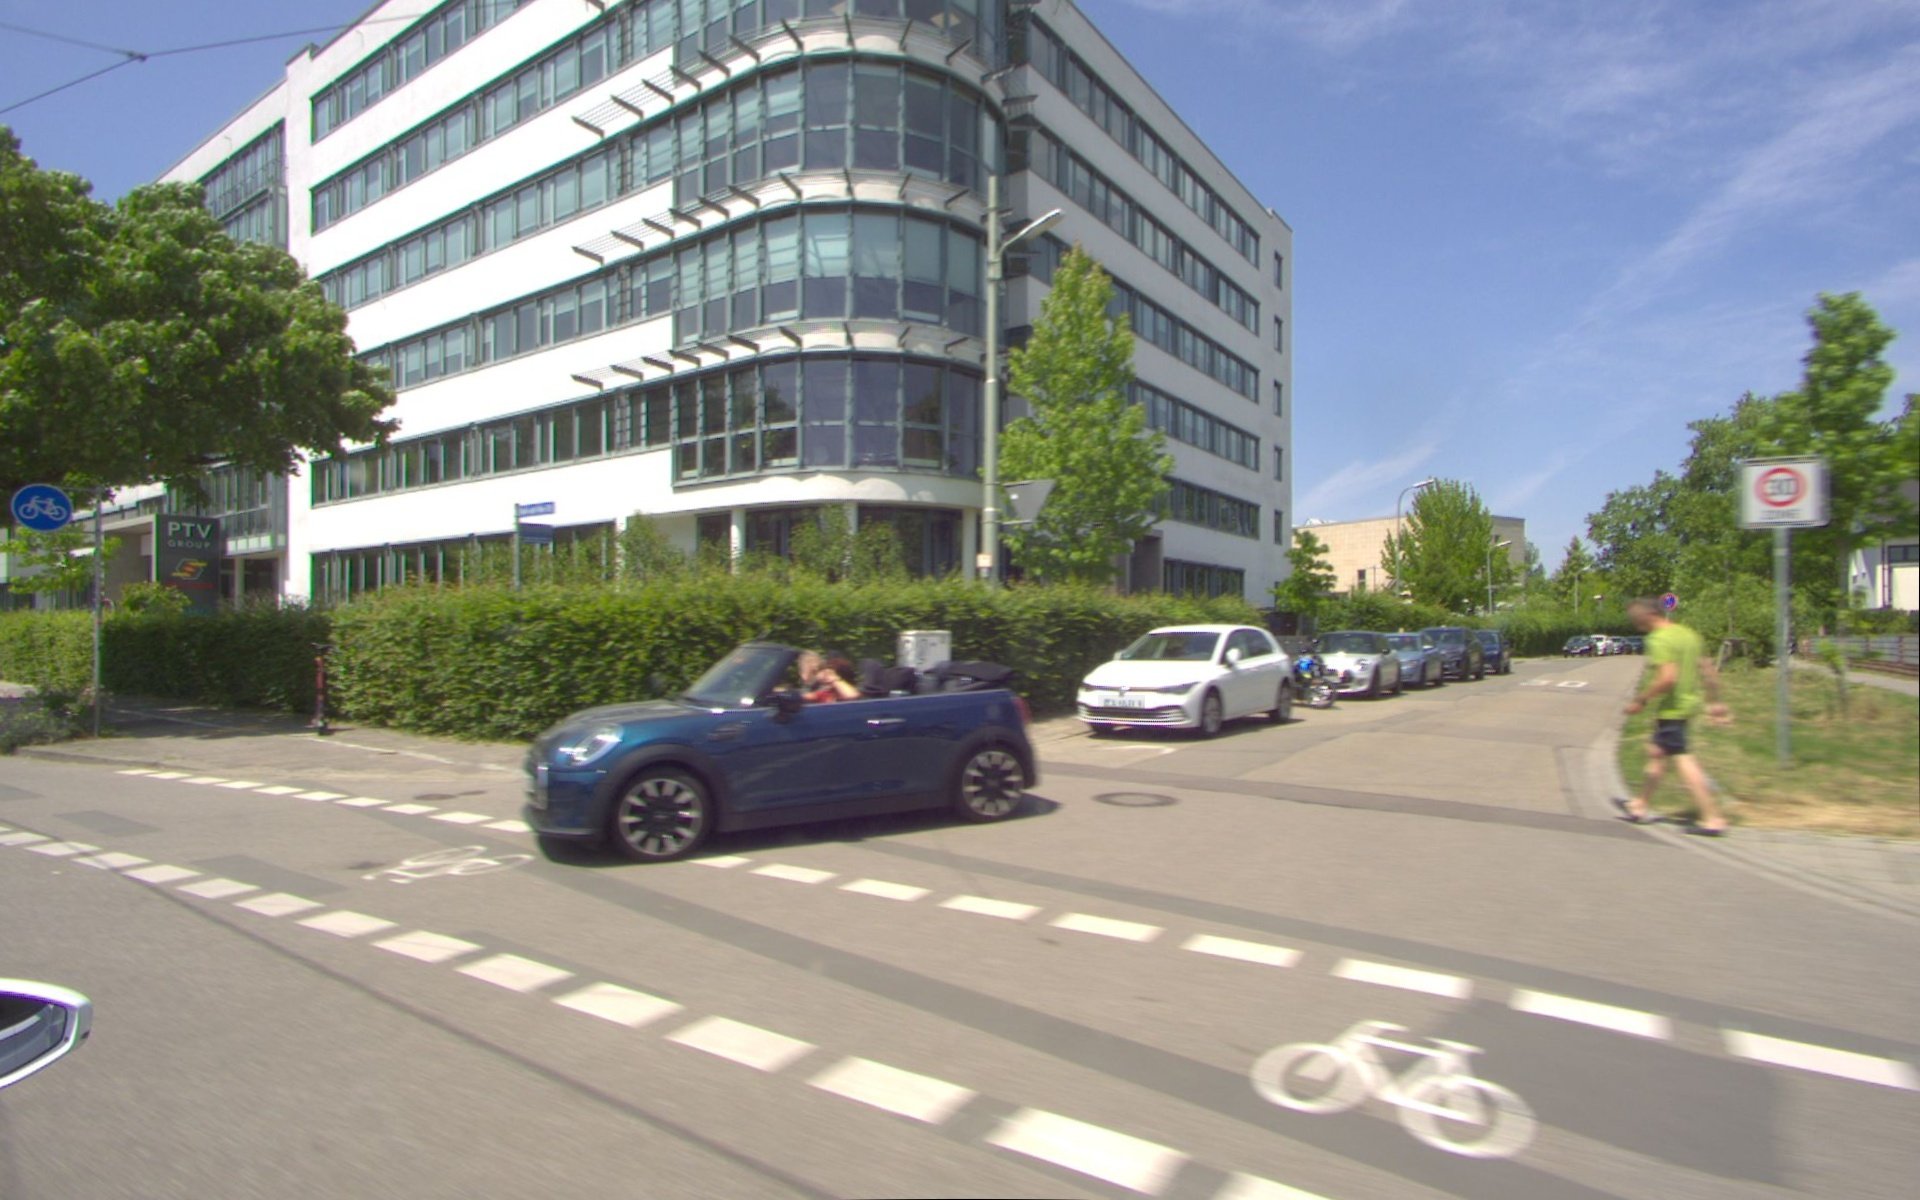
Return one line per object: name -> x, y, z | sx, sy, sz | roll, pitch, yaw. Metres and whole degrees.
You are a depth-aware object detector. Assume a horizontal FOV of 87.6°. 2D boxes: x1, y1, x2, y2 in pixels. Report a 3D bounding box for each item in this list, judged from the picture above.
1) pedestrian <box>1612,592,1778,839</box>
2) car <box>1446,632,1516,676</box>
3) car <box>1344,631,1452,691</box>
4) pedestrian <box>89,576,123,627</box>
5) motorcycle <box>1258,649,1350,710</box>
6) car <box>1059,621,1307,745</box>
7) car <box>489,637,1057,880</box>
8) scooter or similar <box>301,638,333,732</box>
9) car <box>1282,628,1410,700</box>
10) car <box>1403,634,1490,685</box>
pedestrian -> 5.349, 0.805, 7.348 | 0.721, 1.688, 0.839 | 0, -1, 15
car -> 19.162, 1.925, 36.727 | 1.744, 1.514, 4.137 | -1, -2, 35
car -> 11.486, 1.524, 26.095 | 1.744, 1.427, 4.439 | -1, -2, 35
pedestrian -> -30.013, 0.051, 35.196 | 0.867, 1.737, 1.080 | -1, 0, -40
motorcycle -> 6.375, 1.448, 18.667 | 0.590, 1.047, 2.015 | 1, -2, -16
car -> 3.292, 1.062, 14.198 | 1.796, 1.478, 4.132 | -1, -2, 39
car -> -1.341, 0.984, 7.527 | 3.871, 1.389, 1.695 | 1, -2, -30
scooter or similar -> -8.924, 1.156, 13.898 | 0.322, 1.237, 1.145 | 2, -3, -32
car -> 8.518, 1.327, 21.893 | 1.744, 1.427, 4.139 | -1, -2, 34
car -> 14.898, 1.754, 30.575 | 1.744, 1.427, 4.137 | -1, -2, 35
